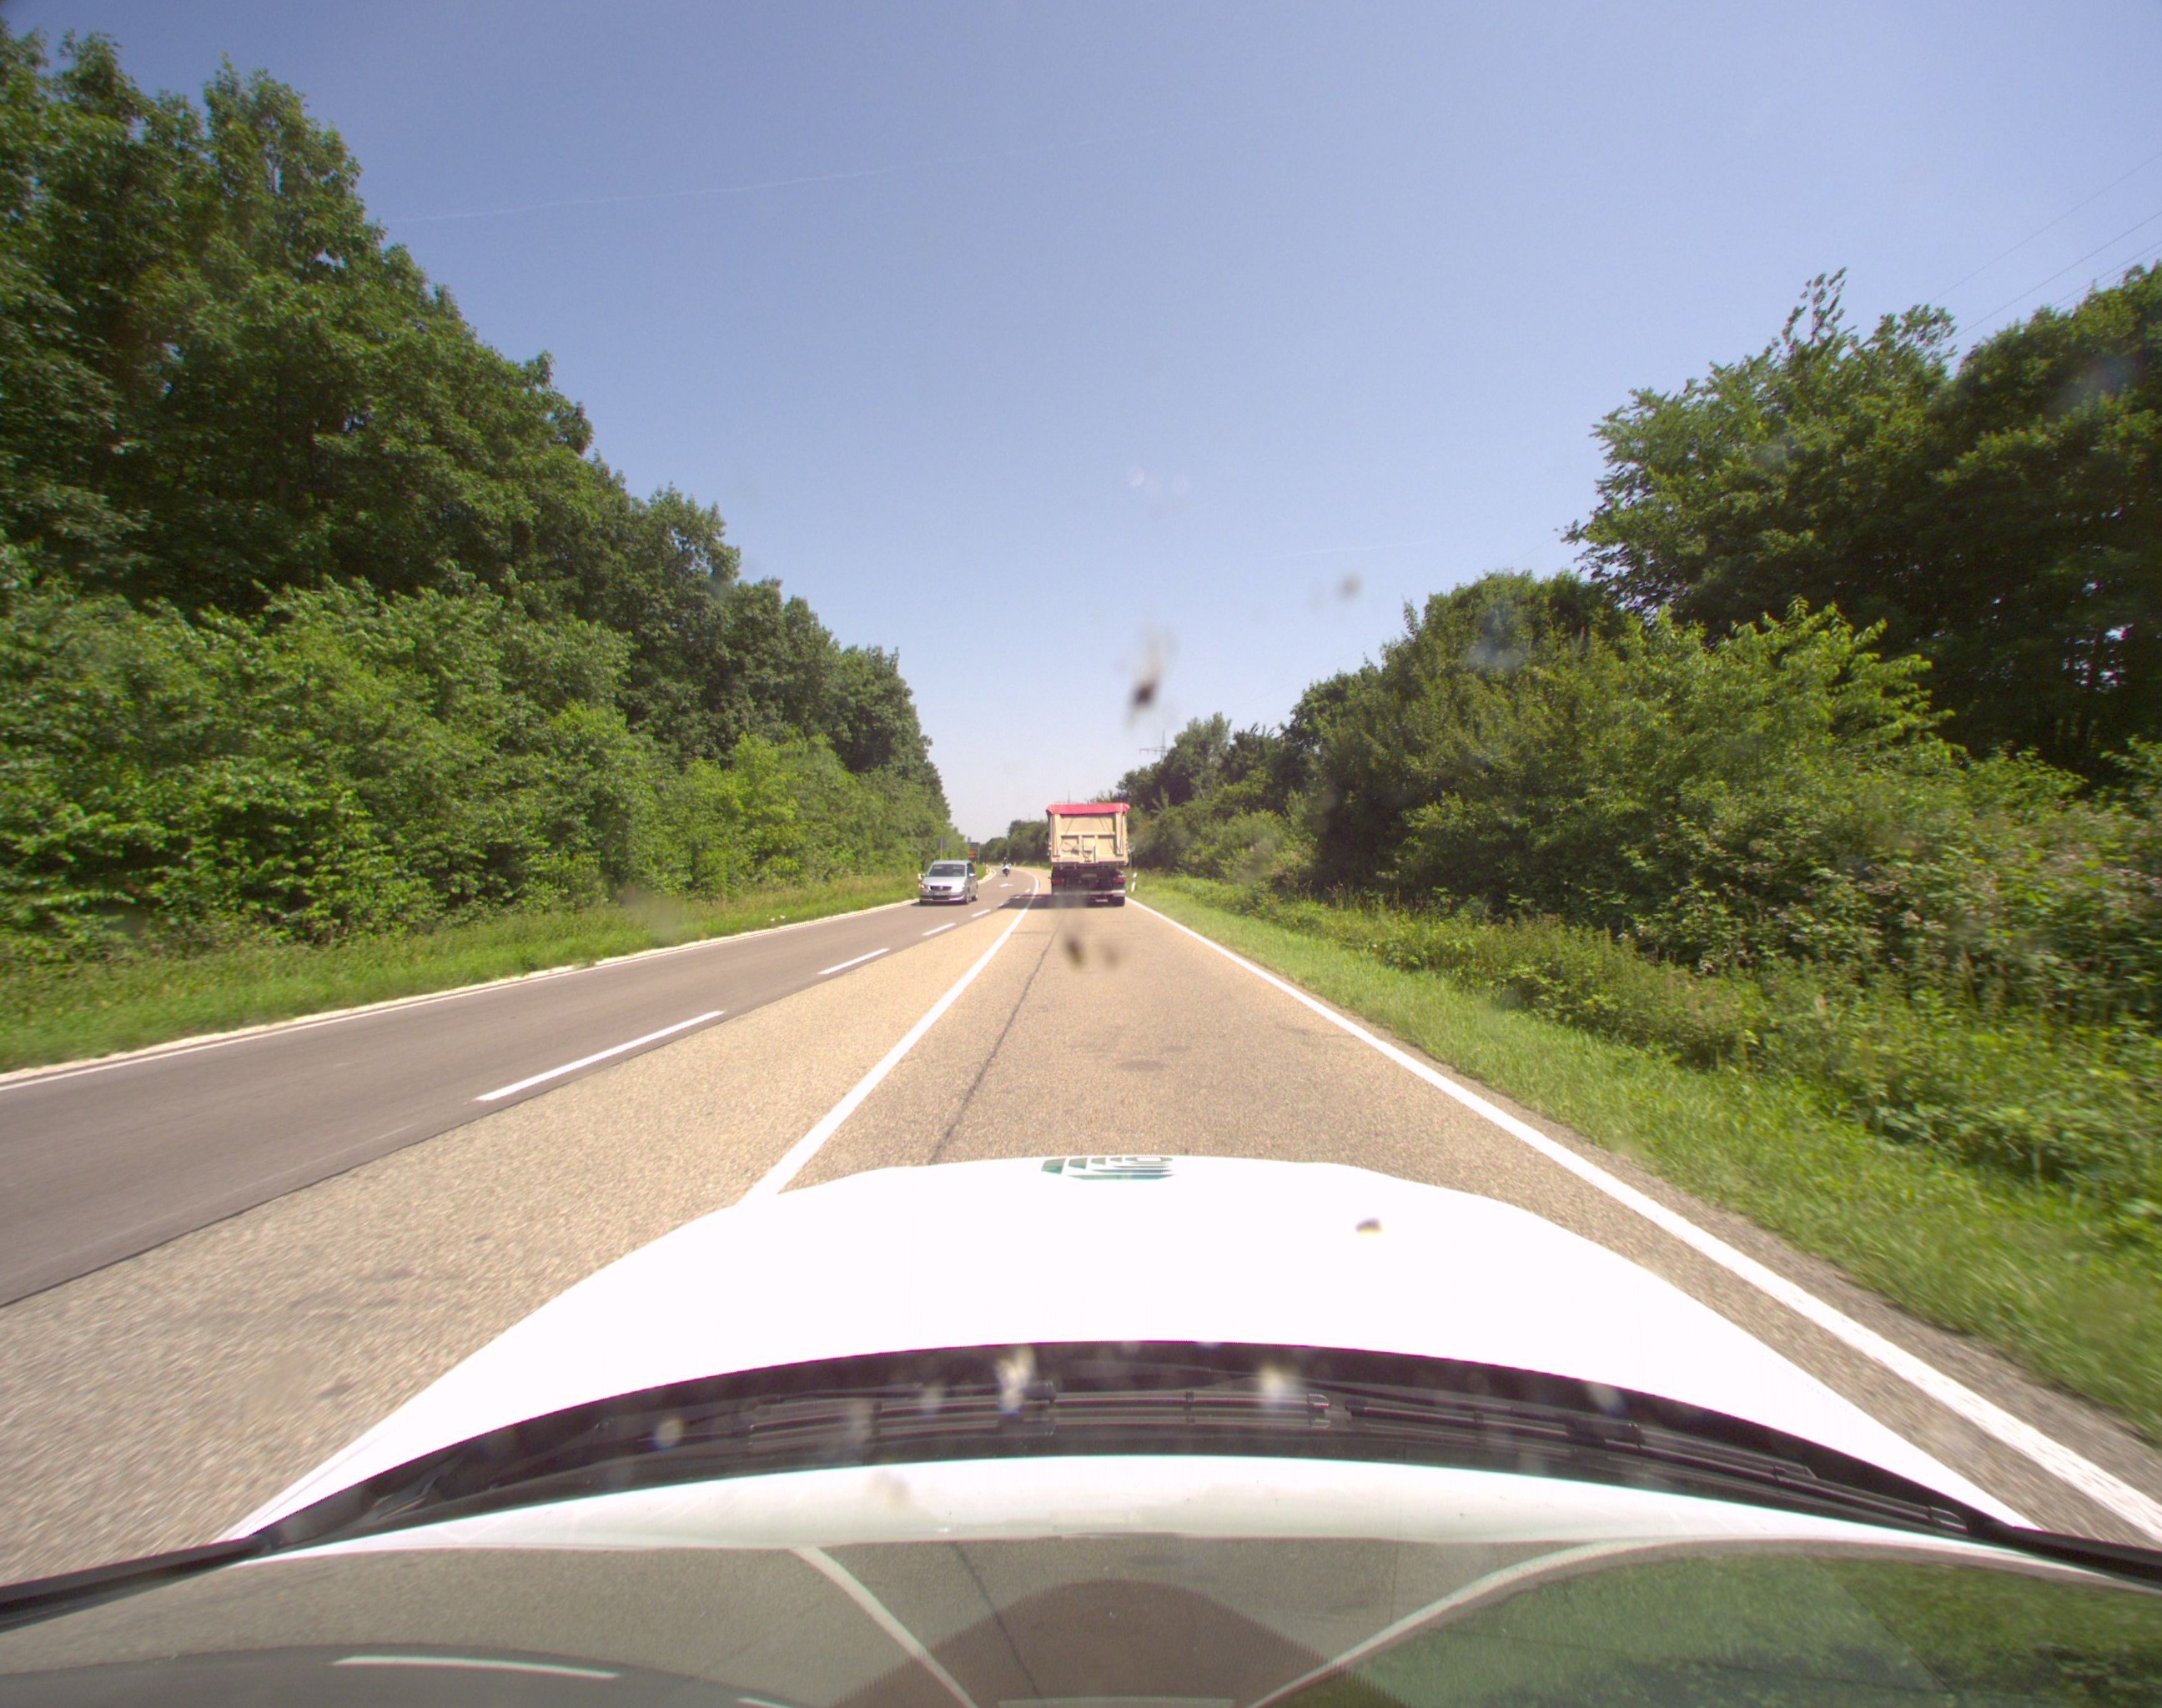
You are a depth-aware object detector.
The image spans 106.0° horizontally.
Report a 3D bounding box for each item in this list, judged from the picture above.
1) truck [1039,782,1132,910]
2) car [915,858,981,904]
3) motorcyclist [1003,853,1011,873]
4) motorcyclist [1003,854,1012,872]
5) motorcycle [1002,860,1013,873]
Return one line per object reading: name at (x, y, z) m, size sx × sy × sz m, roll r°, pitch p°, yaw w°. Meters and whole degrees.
truck at (0.052, -0.222, 31.425) m, size 2.885 × 3.962 × 11.926 m, roll 0°, pitch 0°, yaw -1°
car at (-4.990, 0.995, 31.066) m, size 1.796 × 1.636 × 4.211 m, roll 0°, pitch -1°, yaw 0°
motorcyclist at (-7.084, 0.841, 77.955) m, size 0.818 × 1.882 × 0.656 m, roll 0°, pitch -1°, yaw -4°
motorcyclist at (-7.136, 0.903, 78.883) m, size 0.829 × 1.752 × 0.622 m, roll 0°, pitch -1°, yaw -4°
motorcycle at (-7.090, 1.166, 78.211) m, size 0.944 × 1.251 × 2.679 m, roll 0°, pitch 0°, yaw -3°
